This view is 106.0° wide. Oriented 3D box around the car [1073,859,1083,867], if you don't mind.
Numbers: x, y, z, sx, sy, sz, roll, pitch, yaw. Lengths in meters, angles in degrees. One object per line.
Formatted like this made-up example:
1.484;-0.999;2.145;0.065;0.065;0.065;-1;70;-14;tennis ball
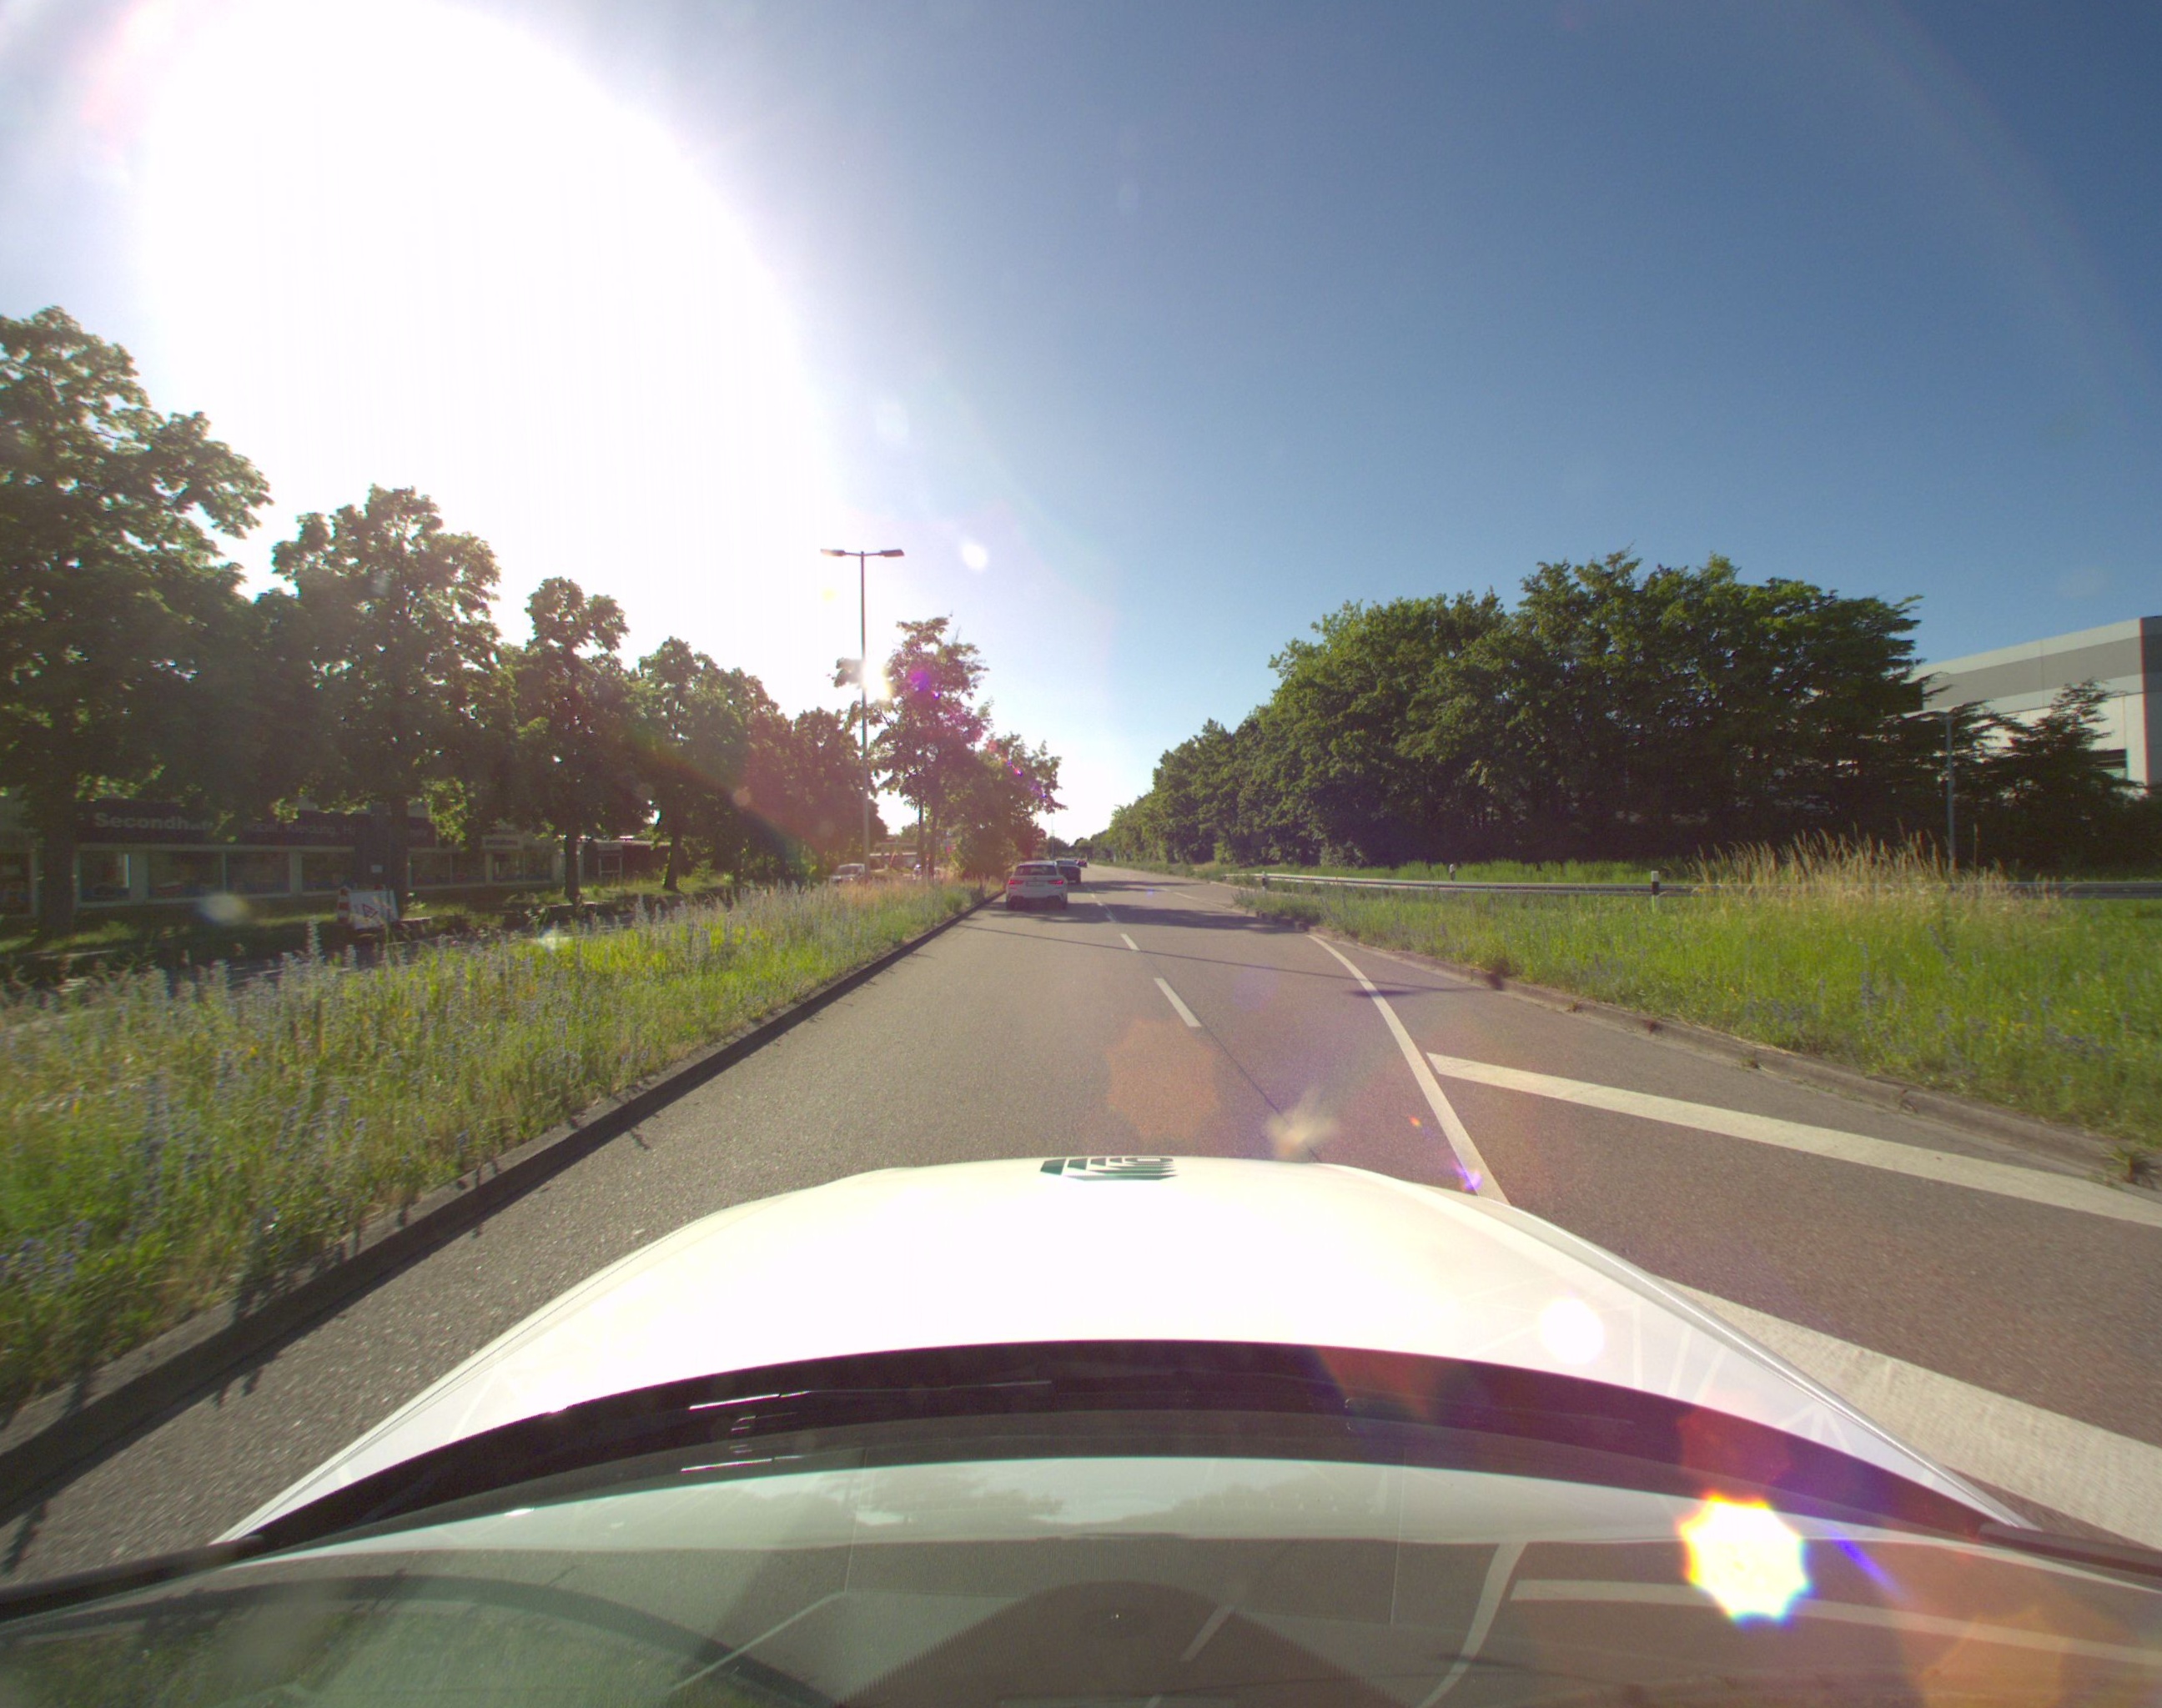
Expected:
-0.641;1.864;163.803;1.768;1.555;3.829;-2;0;-3;car

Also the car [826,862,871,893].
-14.299;1.424;50.319;1.702;1.746;4.162;-1;0;-3;car

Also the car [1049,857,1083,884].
-0.905;0.953;48.332;1.857;1.455;4.544;-2;0;-2;car

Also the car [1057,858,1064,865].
-5.136;1.835;205.680;1.857;1.565;4.544;-1;0;-2;car

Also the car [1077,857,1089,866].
0.333;1.300;138.101;1.857;1.499;4.333;-1;0;-2;car

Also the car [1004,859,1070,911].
-1.296;0.893;25.605;1.856;1.455;4.545;0;0;-1;car

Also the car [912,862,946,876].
-20.080;2.012;107.733;4.070;1.662;1.905;-2;0;31;car
